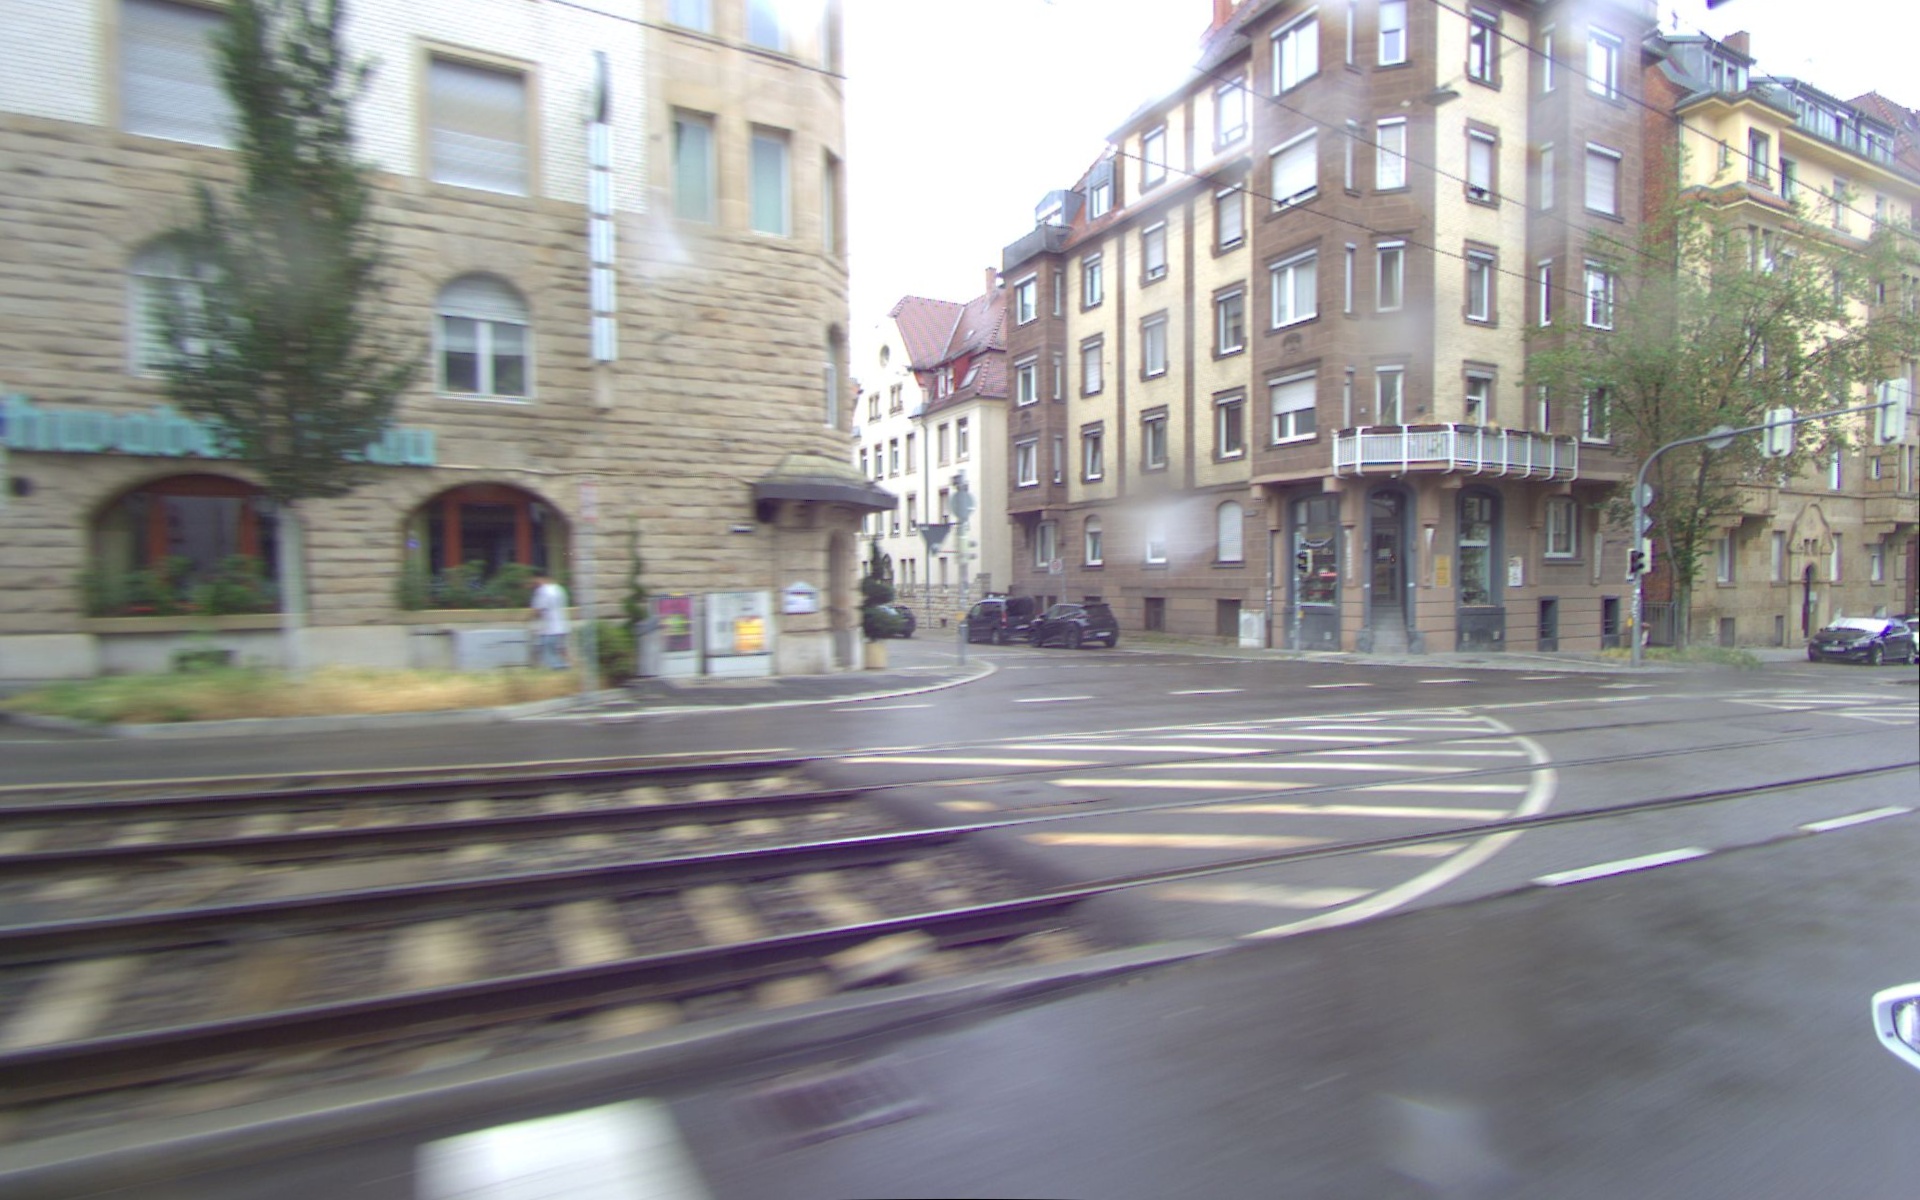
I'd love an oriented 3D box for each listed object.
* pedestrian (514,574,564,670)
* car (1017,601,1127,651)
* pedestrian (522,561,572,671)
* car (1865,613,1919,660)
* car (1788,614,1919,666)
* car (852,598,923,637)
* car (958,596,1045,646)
[{"bbox_3d":[-6.526,0.330,15.551,0.637,1.441,0.751,1,0,-27],"label":"pedestrian"},{"bbox_3d":[3.864,0.872,35.359,1.820,1.586,4.194,1,0,-28],"label":"car"},{"bbox_3d":[-6.153,0.245,14.953,0.634,1.591,0.516,2,-1,-24],"label":"pedestrian"},{"bbox_3d":[32.235,1.218,33.465,4.207,1.445,1.661,1,0,-27],"label":"car"},{"bbox_3d":[27.769,1.240,31.215,3.949,1.506,1.758,2,0,-28],"label":"car"},{"bbox_3d":[-3.440,0.789,46.875,1.813,1.690,3.970,1,0,-28],"label":"car"},{"bbox_3d":[1.608,0.796,40.135,1.788,1.836,3.973,1,0,-26],"label":"car"}]
